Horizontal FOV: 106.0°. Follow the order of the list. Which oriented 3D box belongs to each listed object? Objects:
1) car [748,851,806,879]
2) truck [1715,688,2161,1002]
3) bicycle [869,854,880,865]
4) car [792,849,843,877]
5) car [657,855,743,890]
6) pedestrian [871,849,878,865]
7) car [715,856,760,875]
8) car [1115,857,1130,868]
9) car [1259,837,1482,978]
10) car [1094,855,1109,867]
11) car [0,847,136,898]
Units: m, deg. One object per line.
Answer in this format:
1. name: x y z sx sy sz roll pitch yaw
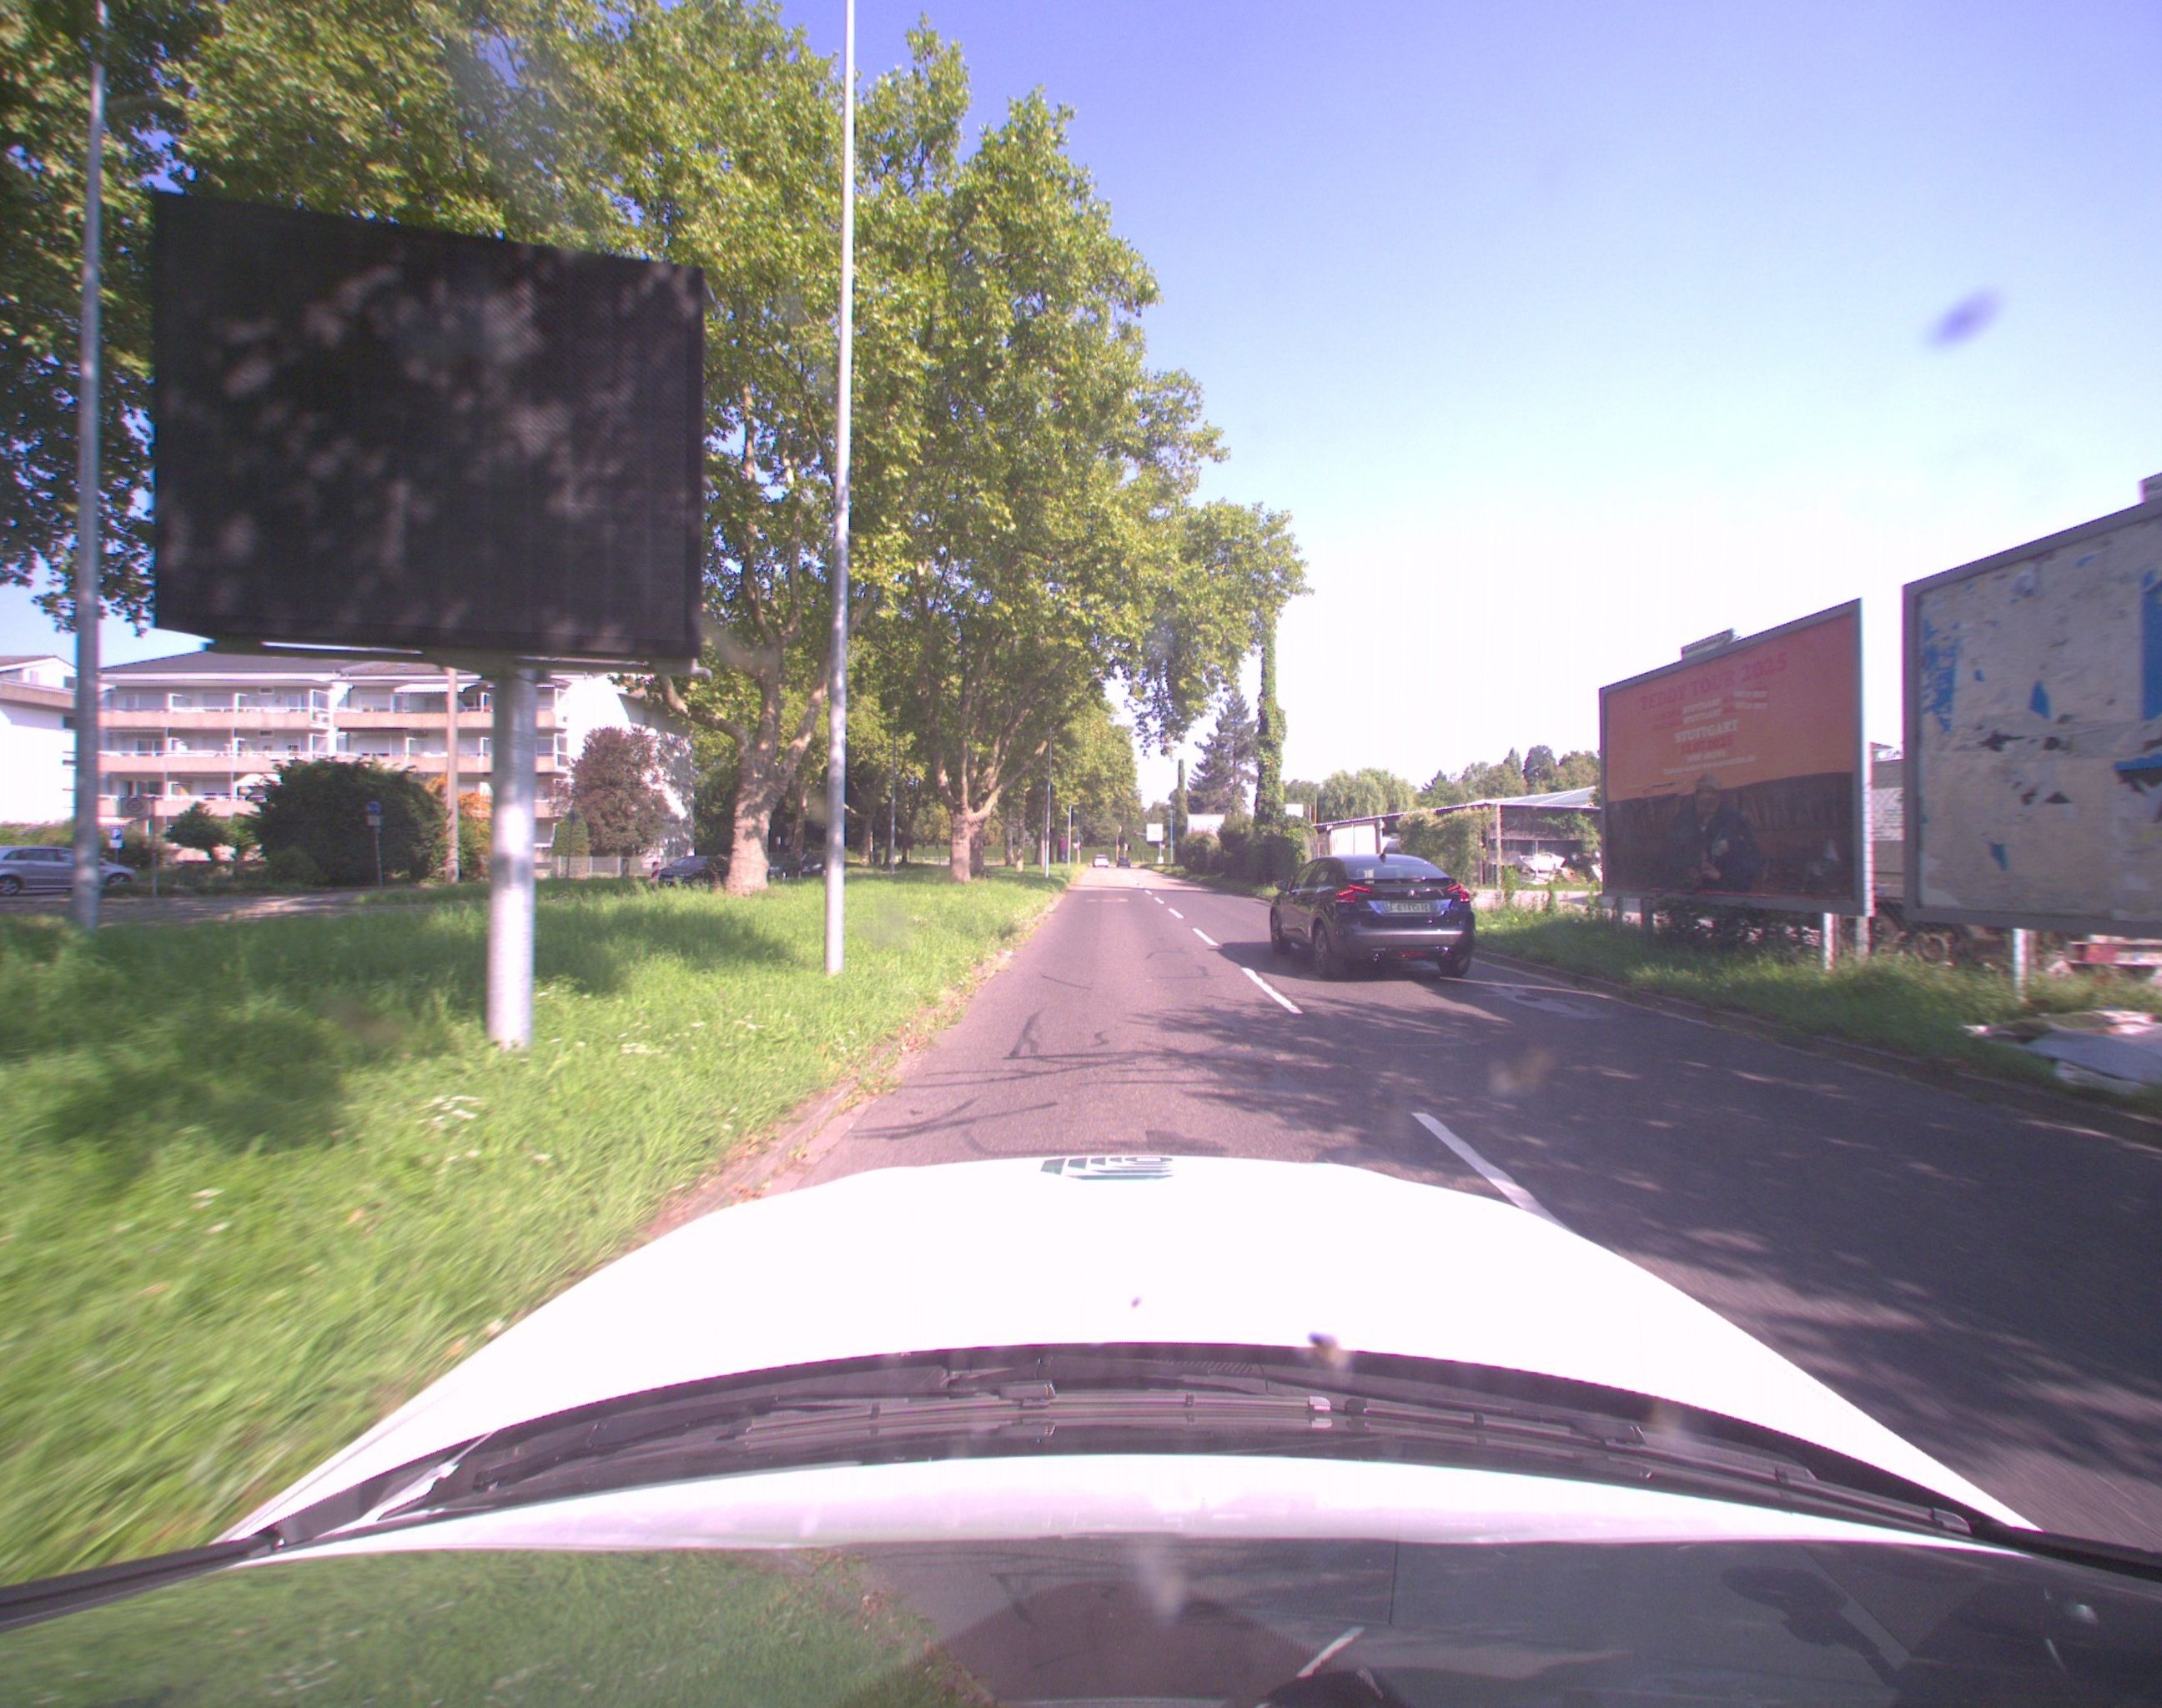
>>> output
1. car: -17.337 0.603 46.645 1.693 1.568 4.002 0 0 2
2. truck: 8.685 -0.047 6.670 1.907 2.233 6.917 1 0 3
3. bicycle: -22.822 0.590 90.101 0.543 1.199 2.759 1 0 -2
4. car: -17.406 0.588 54.044 1.693 1.732 4.661 1 0 2
5. car: -17.526 0.802 37.720 1.693 1.508 4.542 0 0 2
6. pedestrian: -22.816 0.333 90.056 0.541 1.690 0.657 1 -1 -2
7. car: -30.939 1.020 73.468 1.688 1.726 4.396 1 0 7
8. car: 5.546 1.123 108.662 1.791 1.401 4.000 1 0 1
9. car: 3.746 0.622 11.341 1.639 1.588 4.255 0 0 1
10. car: 2.542 0.849 99.943 1.681 1.462 4.002 1 0 2
11. car: -34.637 0.580 27.136 1.600 1.626 3.757 1 0 9
